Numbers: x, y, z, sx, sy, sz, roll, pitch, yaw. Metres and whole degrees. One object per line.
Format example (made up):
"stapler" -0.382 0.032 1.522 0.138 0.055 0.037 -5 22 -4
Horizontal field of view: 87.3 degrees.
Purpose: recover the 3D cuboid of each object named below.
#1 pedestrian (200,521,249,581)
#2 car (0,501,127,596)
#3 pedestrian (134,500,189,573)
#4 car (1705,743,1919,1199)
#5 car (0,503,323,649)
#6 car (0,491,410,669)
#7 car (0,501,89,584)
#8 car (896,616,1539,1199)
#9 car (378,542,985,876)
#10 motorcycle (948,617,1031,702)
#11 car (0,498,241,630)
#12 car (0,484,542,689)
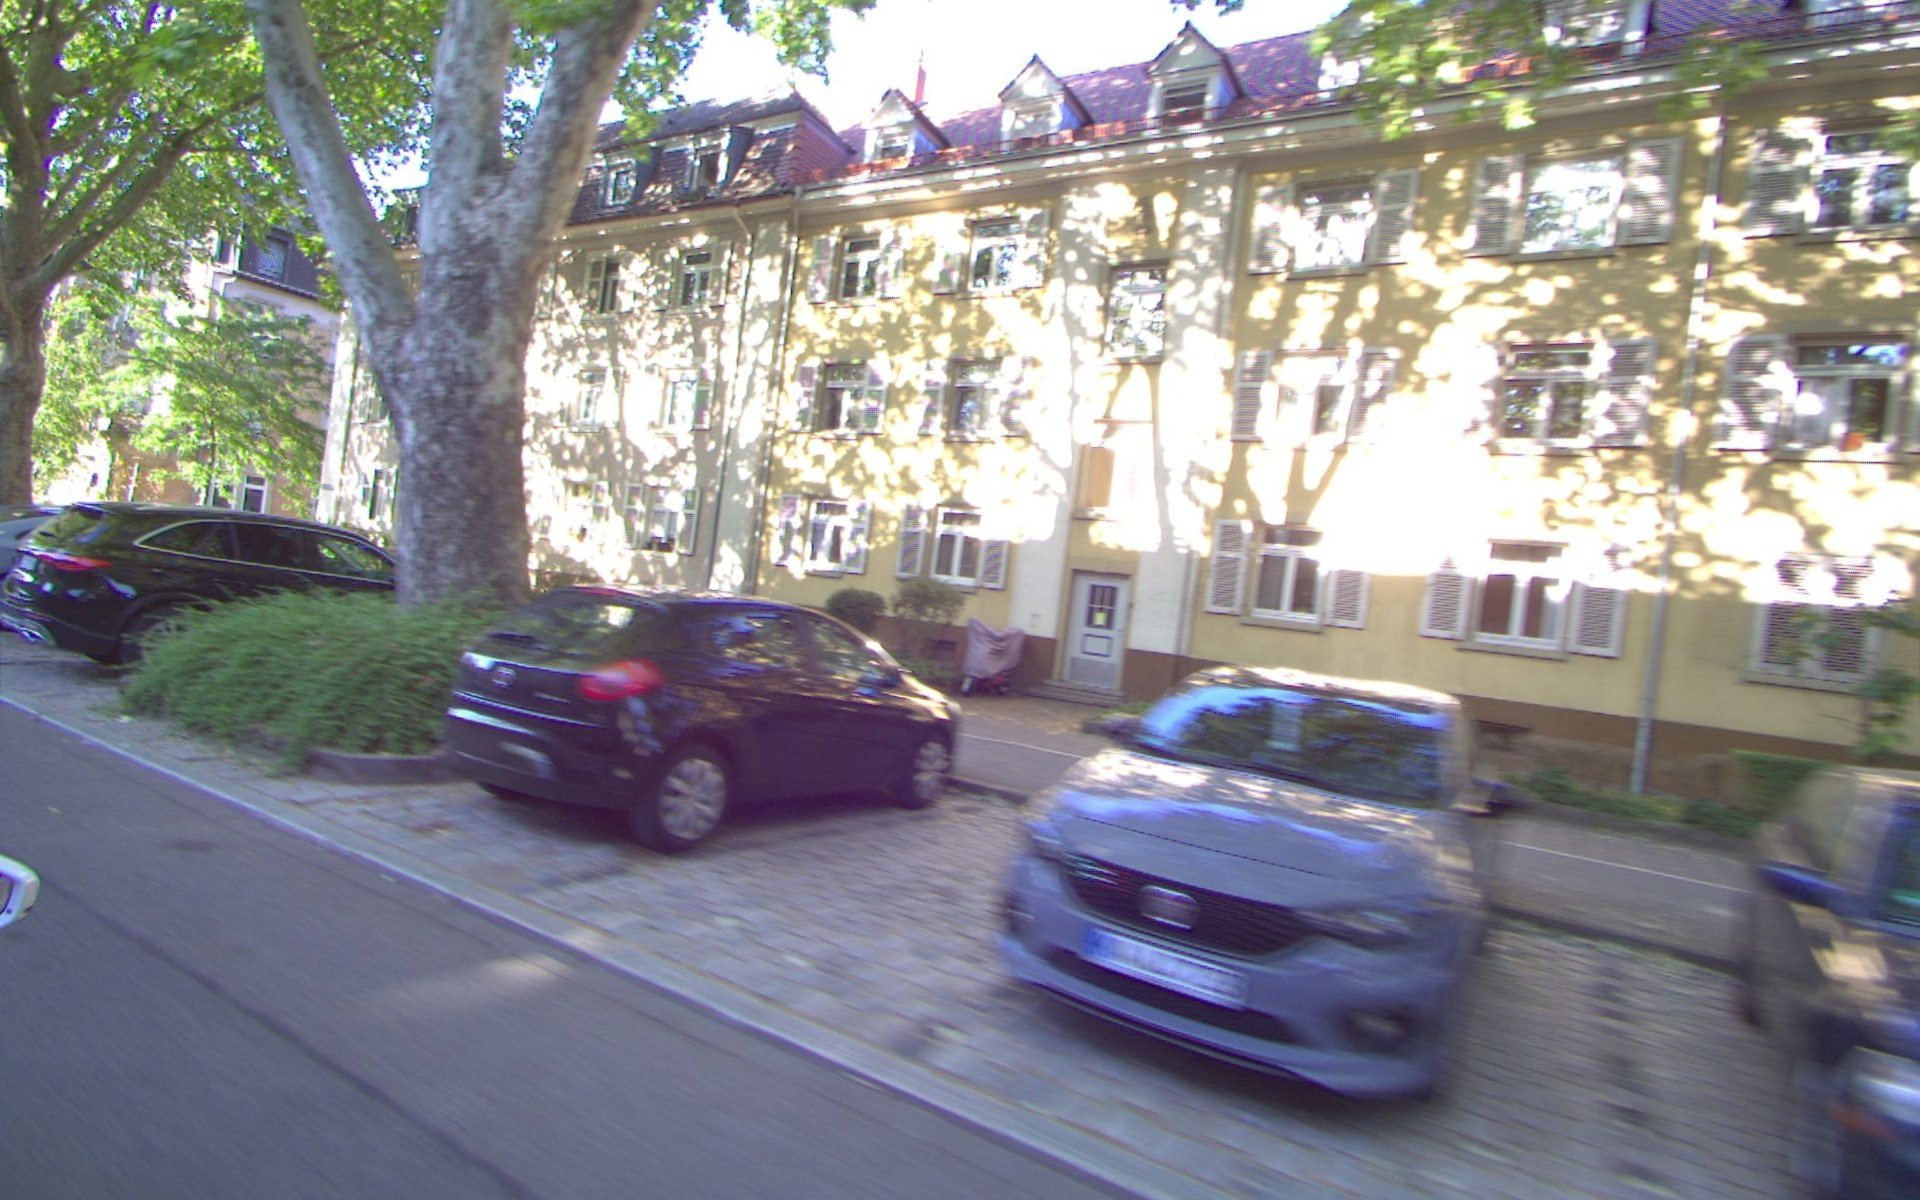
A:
"pedestrian" -19.394 -1.289 26.527 0.807 1.472 0.662 7 0 32
"car" -17.656 -1.114 17.311 1.861 1.463 4.695 7 -2 32
"pedestrian" -20.984 -1.661 26.439 0.807 1.760 0.761 7 0 32
"car" 4.007 1.406 3.703 1.776 1.396 4.400 6 -2 35
"car" -10.853 -0.325 12.666 1.915 1.455 4.304 7 -2 30
"car" -8.831 -0.156 11.794 1.748 1.565 3.683 7 -1 33
"car" -19.383 -1.302 19.094 1.724 1.452 3.889 7 -2 32
"car" 1.725 1.095 5.077 1.866 1.501 4.255 7 -2 31
"car" -1.575 0.687 7.006 1.682 1.527 3.845 7 -2 31
"motorcycle" 0.557 1.046 18.032 0.612 1.379 1.805 7 2 29
"car" -12.860 -0.580 14.028 1.767 1.527 4.149 7 -2 32
"car" -7.017 -0.036 10.418 1.996 1.622 4.496 7 0 35
